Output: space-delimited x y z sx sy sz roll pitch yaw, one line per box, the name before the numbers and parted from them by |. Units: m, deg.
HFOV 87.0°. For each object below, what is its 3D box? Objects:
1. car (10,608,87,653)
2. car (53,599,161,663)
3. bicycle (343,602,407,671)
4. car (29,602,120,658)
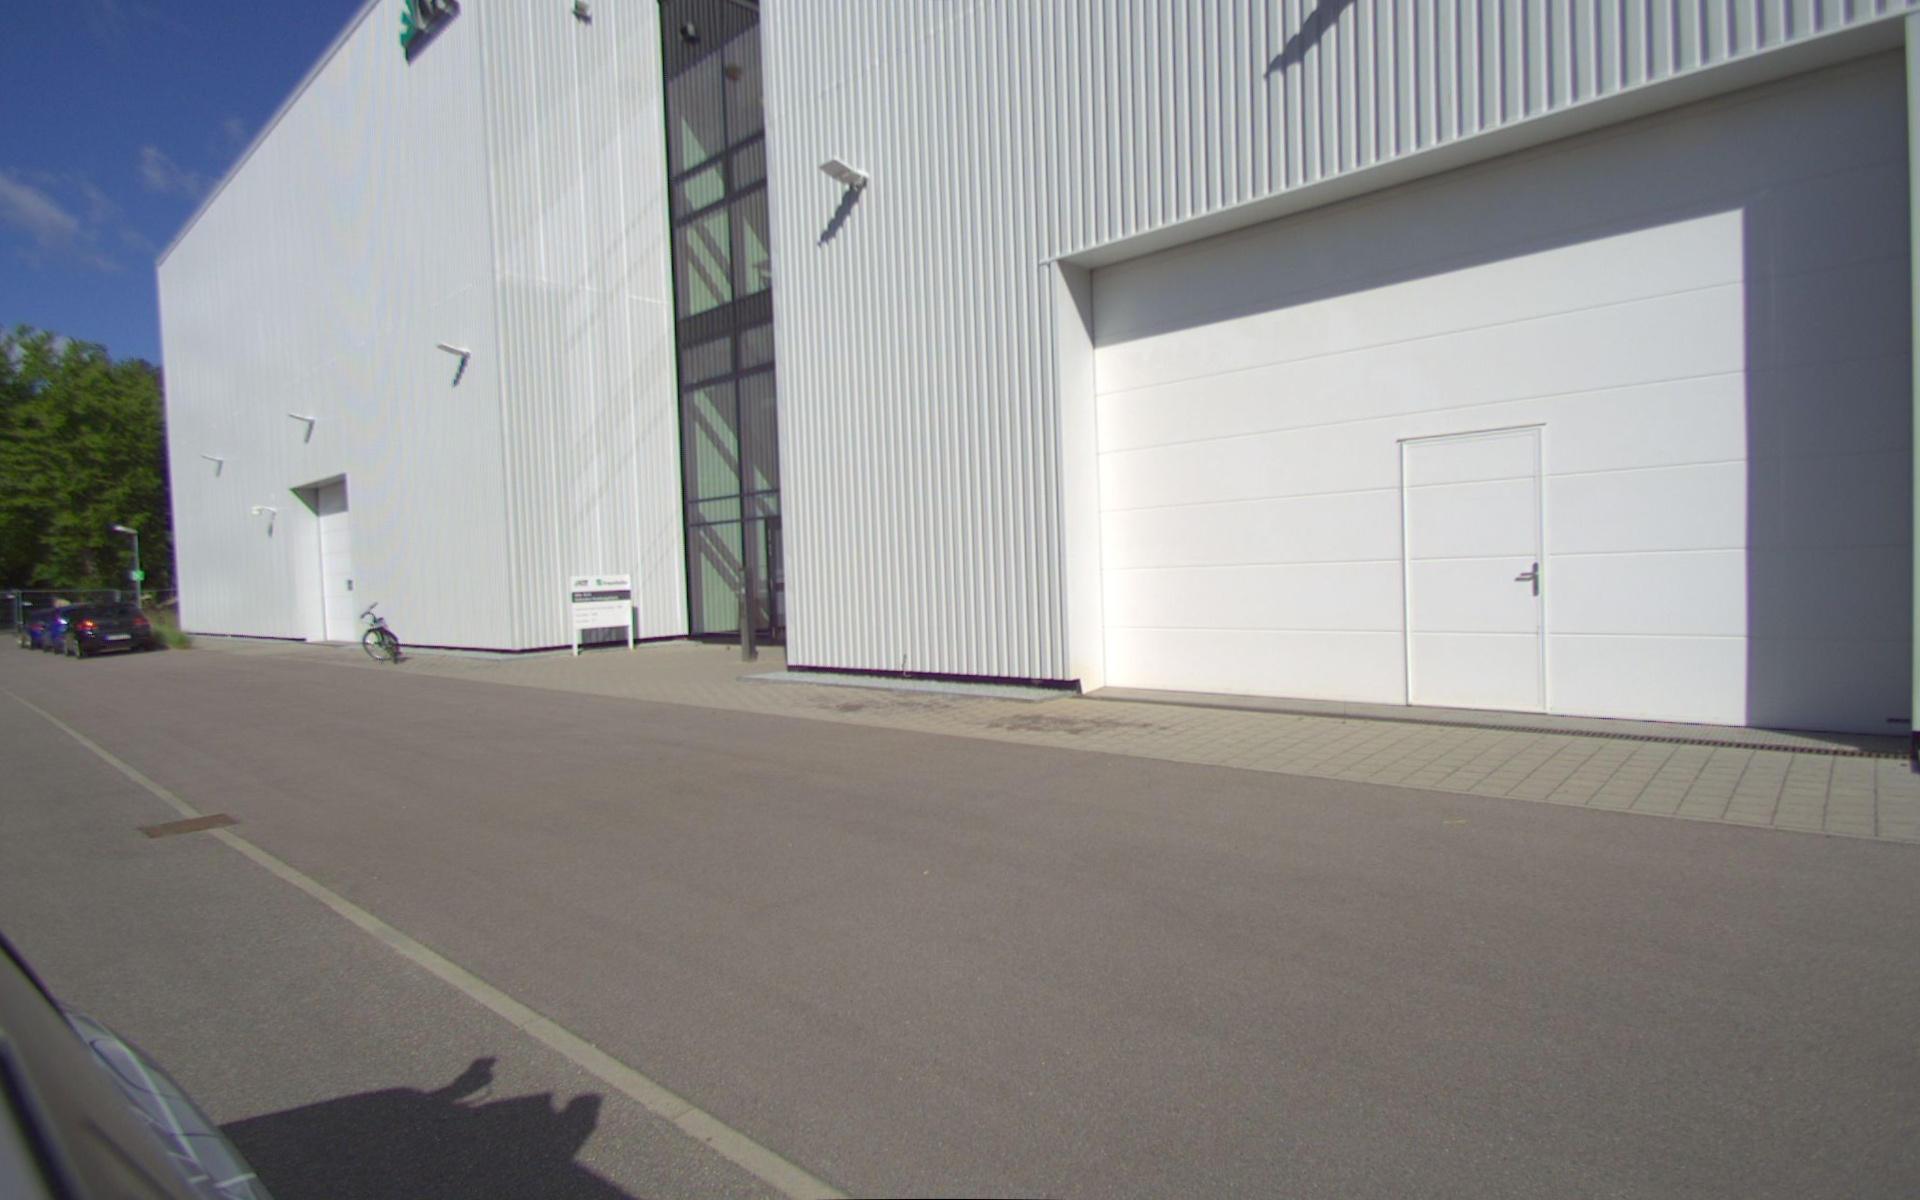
car | -32.470 1.043 36.026 4.001 1.451 1.765 -1 1 44
car | -24.412 0.837 28.913 4.001 1.532 1.870 -1 5 44
bicycle | -11.355 0.667 19.627 0.895 1.151 1.905 -6 4 -32
car | -28.357 0.930 32.376 4.001 1.532 1.766 -1 5 44
